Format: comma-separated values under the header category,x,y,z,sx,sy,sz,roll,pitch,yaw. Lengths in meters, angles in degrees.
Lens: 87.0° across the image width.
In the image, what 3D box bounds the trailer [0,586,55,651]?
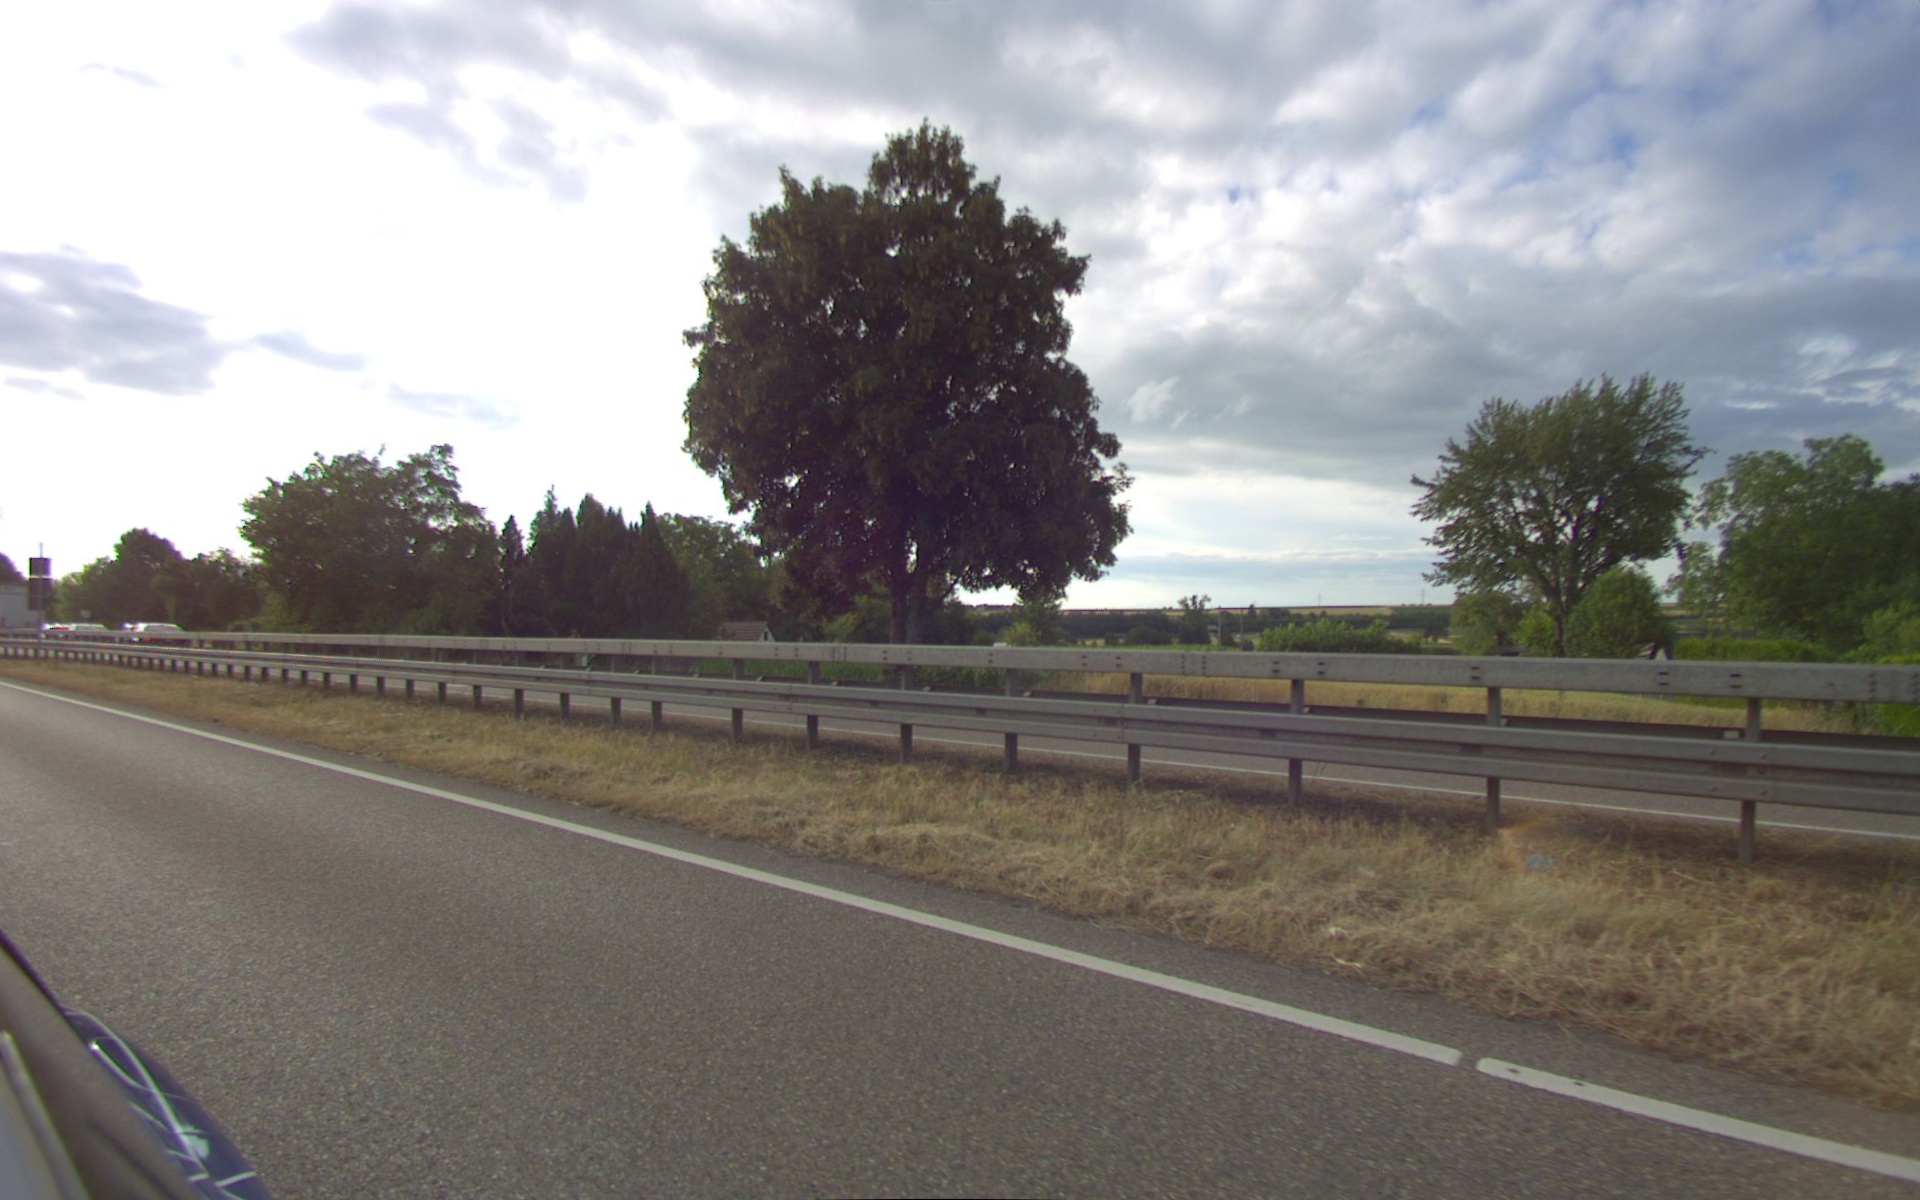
category,x,y,z,sx,sy,sz,roll,pitch,yaw
trailer,-66.561,1.354,70.315,13.905,4.182,3.430,-1,-3,40

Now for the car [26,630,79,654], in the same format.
category,x,y,z,sx,sy,sz,roll,pitch,yaw
car,-53.645,2.467,59.807,4.157,1.396,1.771,-2,-3,40

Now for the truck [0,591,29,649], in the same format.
category,x,y,z,sx,sy,sz,roll,pitch,yaw
truck,-71.462,1.480,74.468,6.045,4.182,3.439,-1,-3,40

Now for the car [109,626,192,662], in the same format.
category,x,y,z,sx,sy,sz,roll,pitch,yaw
car,-35.018,1.874,43.734,4.931,1.489,1.848,-2,-3,40

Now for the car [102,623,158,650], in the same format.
category,x,y,z,sx,sy,sz,roll,pitch,yaw
car,-50.239,2.199,61.242,4.148,1.576,1.848,-2,-3,40

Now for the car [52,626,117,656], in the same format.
category,x,y,z,sx,sy,sz,roll,pitch,yaw
car,-46.562,2.165,53.814,4.821,1.489,1.848,-2,-3,40
